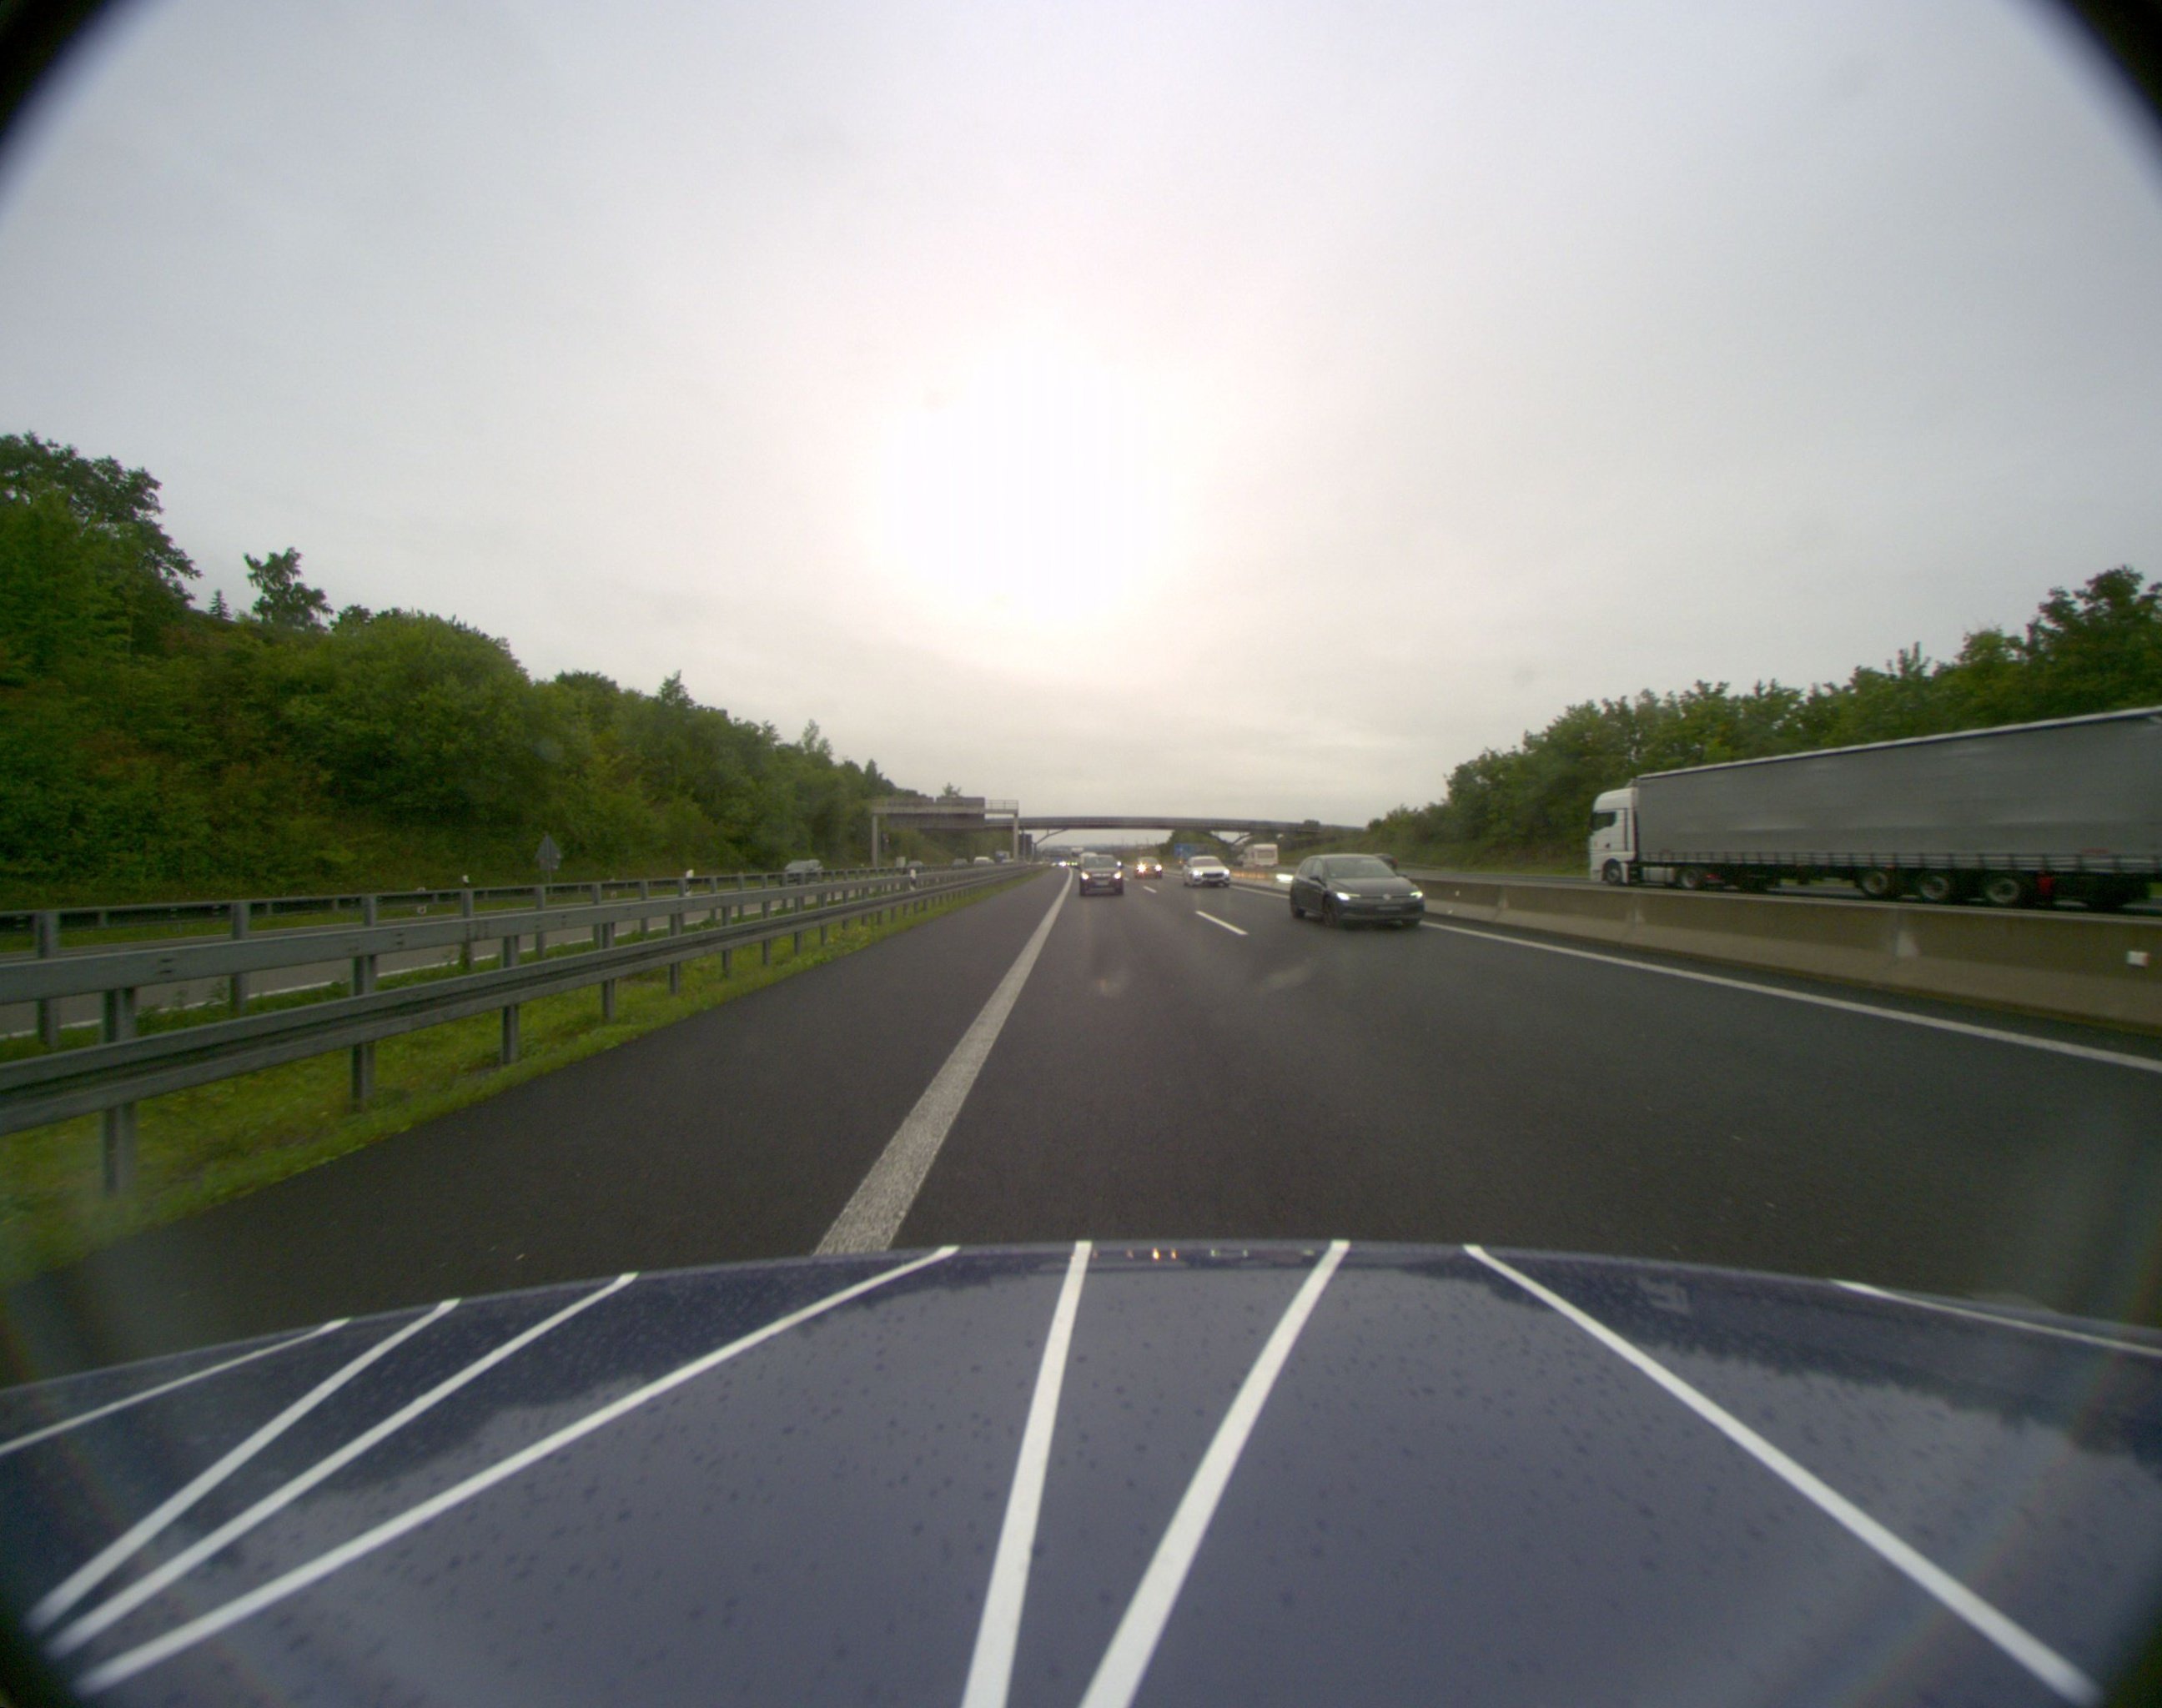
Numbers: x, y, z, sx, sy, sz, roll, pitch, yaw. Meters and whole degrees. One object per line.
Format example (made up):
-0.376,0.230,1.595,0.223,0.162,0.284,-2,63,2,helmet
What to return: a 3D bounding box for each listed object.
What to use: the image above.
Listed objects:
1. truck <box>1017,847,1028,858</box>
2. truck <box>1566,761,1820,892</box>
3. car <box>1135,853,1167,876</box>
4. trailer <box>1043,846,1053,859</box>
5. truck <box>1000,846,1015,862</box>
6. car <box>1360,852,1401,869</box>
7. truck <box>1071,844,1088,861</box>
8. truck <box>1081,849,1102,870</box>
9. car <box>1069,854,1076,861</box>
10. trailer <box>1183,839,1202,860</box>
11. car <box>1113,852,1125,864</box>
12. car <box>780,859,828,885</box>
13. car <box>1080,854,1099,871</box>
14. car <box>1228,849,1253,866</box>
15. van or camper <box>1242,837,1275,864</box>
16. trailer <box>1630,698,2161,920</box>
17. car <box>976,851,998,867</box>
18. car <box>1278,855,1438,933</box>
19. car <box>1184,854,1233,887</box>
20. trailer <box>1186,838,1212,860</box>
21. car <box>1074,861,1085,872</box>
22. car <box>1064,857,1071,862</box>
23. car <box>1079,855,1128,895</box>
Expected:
-18.668,-0.629,243.021,2.909,3.397,13.350,-1,0,-1,truck
21.596,-0.875,27.598,3.268,4.060,7.441,-1,0,1,truck
4.905,0.687,53.592,1.905,1.497,4.114,-1,0,1,car
-9.836,-0.390,227.548,2.547,3.799,11.329,-1,0,0,trailer
-16.633,-0.108,172.294,2.909,3.397,9.279,-1,1,-2,truck
23.953,0.471,60.929,1.693,1.286,3.923,-1,0,0,car
-0.440,-0.428,159.858,3.154,3.332,13.096,-1,0,-2,truck
1.168,0.605,86.524,2.175,2.214,5.642,-1,0,0,truck
-2.090,0.926,188.736,1.715,1.724,4.000,-1,0,1,car
22.840,-0.877,155.374,2.797,4.060,6.041,-1,0,-1,trailer
5.726,0.574,115.830,1.715,1.724,4.000,-1,0,1,car
-18.314,1.142,50.446,1.865,1.573,4.238,-1,1,-4,car
0.926,0.871,79.835,1.825,1.669,4.001,-1,1,4,car
15.741,0.327,75.103,1.531,1.611,4.388,-1,0,0,car
16.777,-0.313,72.039,1.799,2.455,5.547,-1,0,0,van or camper
21.522,-0.862,20.674,3.268,4.059,13.845,-1,0,1,trailer
-10.875,0.551,88.071,1.864,1.795,4.647,-1,1,0,car
5.746,0.753,16.387,1.905,1.397,4.459,-1,0,2,car
6.179,0.753,37.110,1.905,1.497,4.115,-1,0,3,car
22.963,-0.866,148.429,2.797,4.059,13.524,-1,0,-1,trailer
-0.166,2.006,127.756,1.715,1.724,4.000,-1,0,1,car
-4.487,1.736,247.951,1.916,1.671,4.000,-1,0,3,car
0.874,0.840,31.960,1.905,1.497,4.114,-1,0,0,car
